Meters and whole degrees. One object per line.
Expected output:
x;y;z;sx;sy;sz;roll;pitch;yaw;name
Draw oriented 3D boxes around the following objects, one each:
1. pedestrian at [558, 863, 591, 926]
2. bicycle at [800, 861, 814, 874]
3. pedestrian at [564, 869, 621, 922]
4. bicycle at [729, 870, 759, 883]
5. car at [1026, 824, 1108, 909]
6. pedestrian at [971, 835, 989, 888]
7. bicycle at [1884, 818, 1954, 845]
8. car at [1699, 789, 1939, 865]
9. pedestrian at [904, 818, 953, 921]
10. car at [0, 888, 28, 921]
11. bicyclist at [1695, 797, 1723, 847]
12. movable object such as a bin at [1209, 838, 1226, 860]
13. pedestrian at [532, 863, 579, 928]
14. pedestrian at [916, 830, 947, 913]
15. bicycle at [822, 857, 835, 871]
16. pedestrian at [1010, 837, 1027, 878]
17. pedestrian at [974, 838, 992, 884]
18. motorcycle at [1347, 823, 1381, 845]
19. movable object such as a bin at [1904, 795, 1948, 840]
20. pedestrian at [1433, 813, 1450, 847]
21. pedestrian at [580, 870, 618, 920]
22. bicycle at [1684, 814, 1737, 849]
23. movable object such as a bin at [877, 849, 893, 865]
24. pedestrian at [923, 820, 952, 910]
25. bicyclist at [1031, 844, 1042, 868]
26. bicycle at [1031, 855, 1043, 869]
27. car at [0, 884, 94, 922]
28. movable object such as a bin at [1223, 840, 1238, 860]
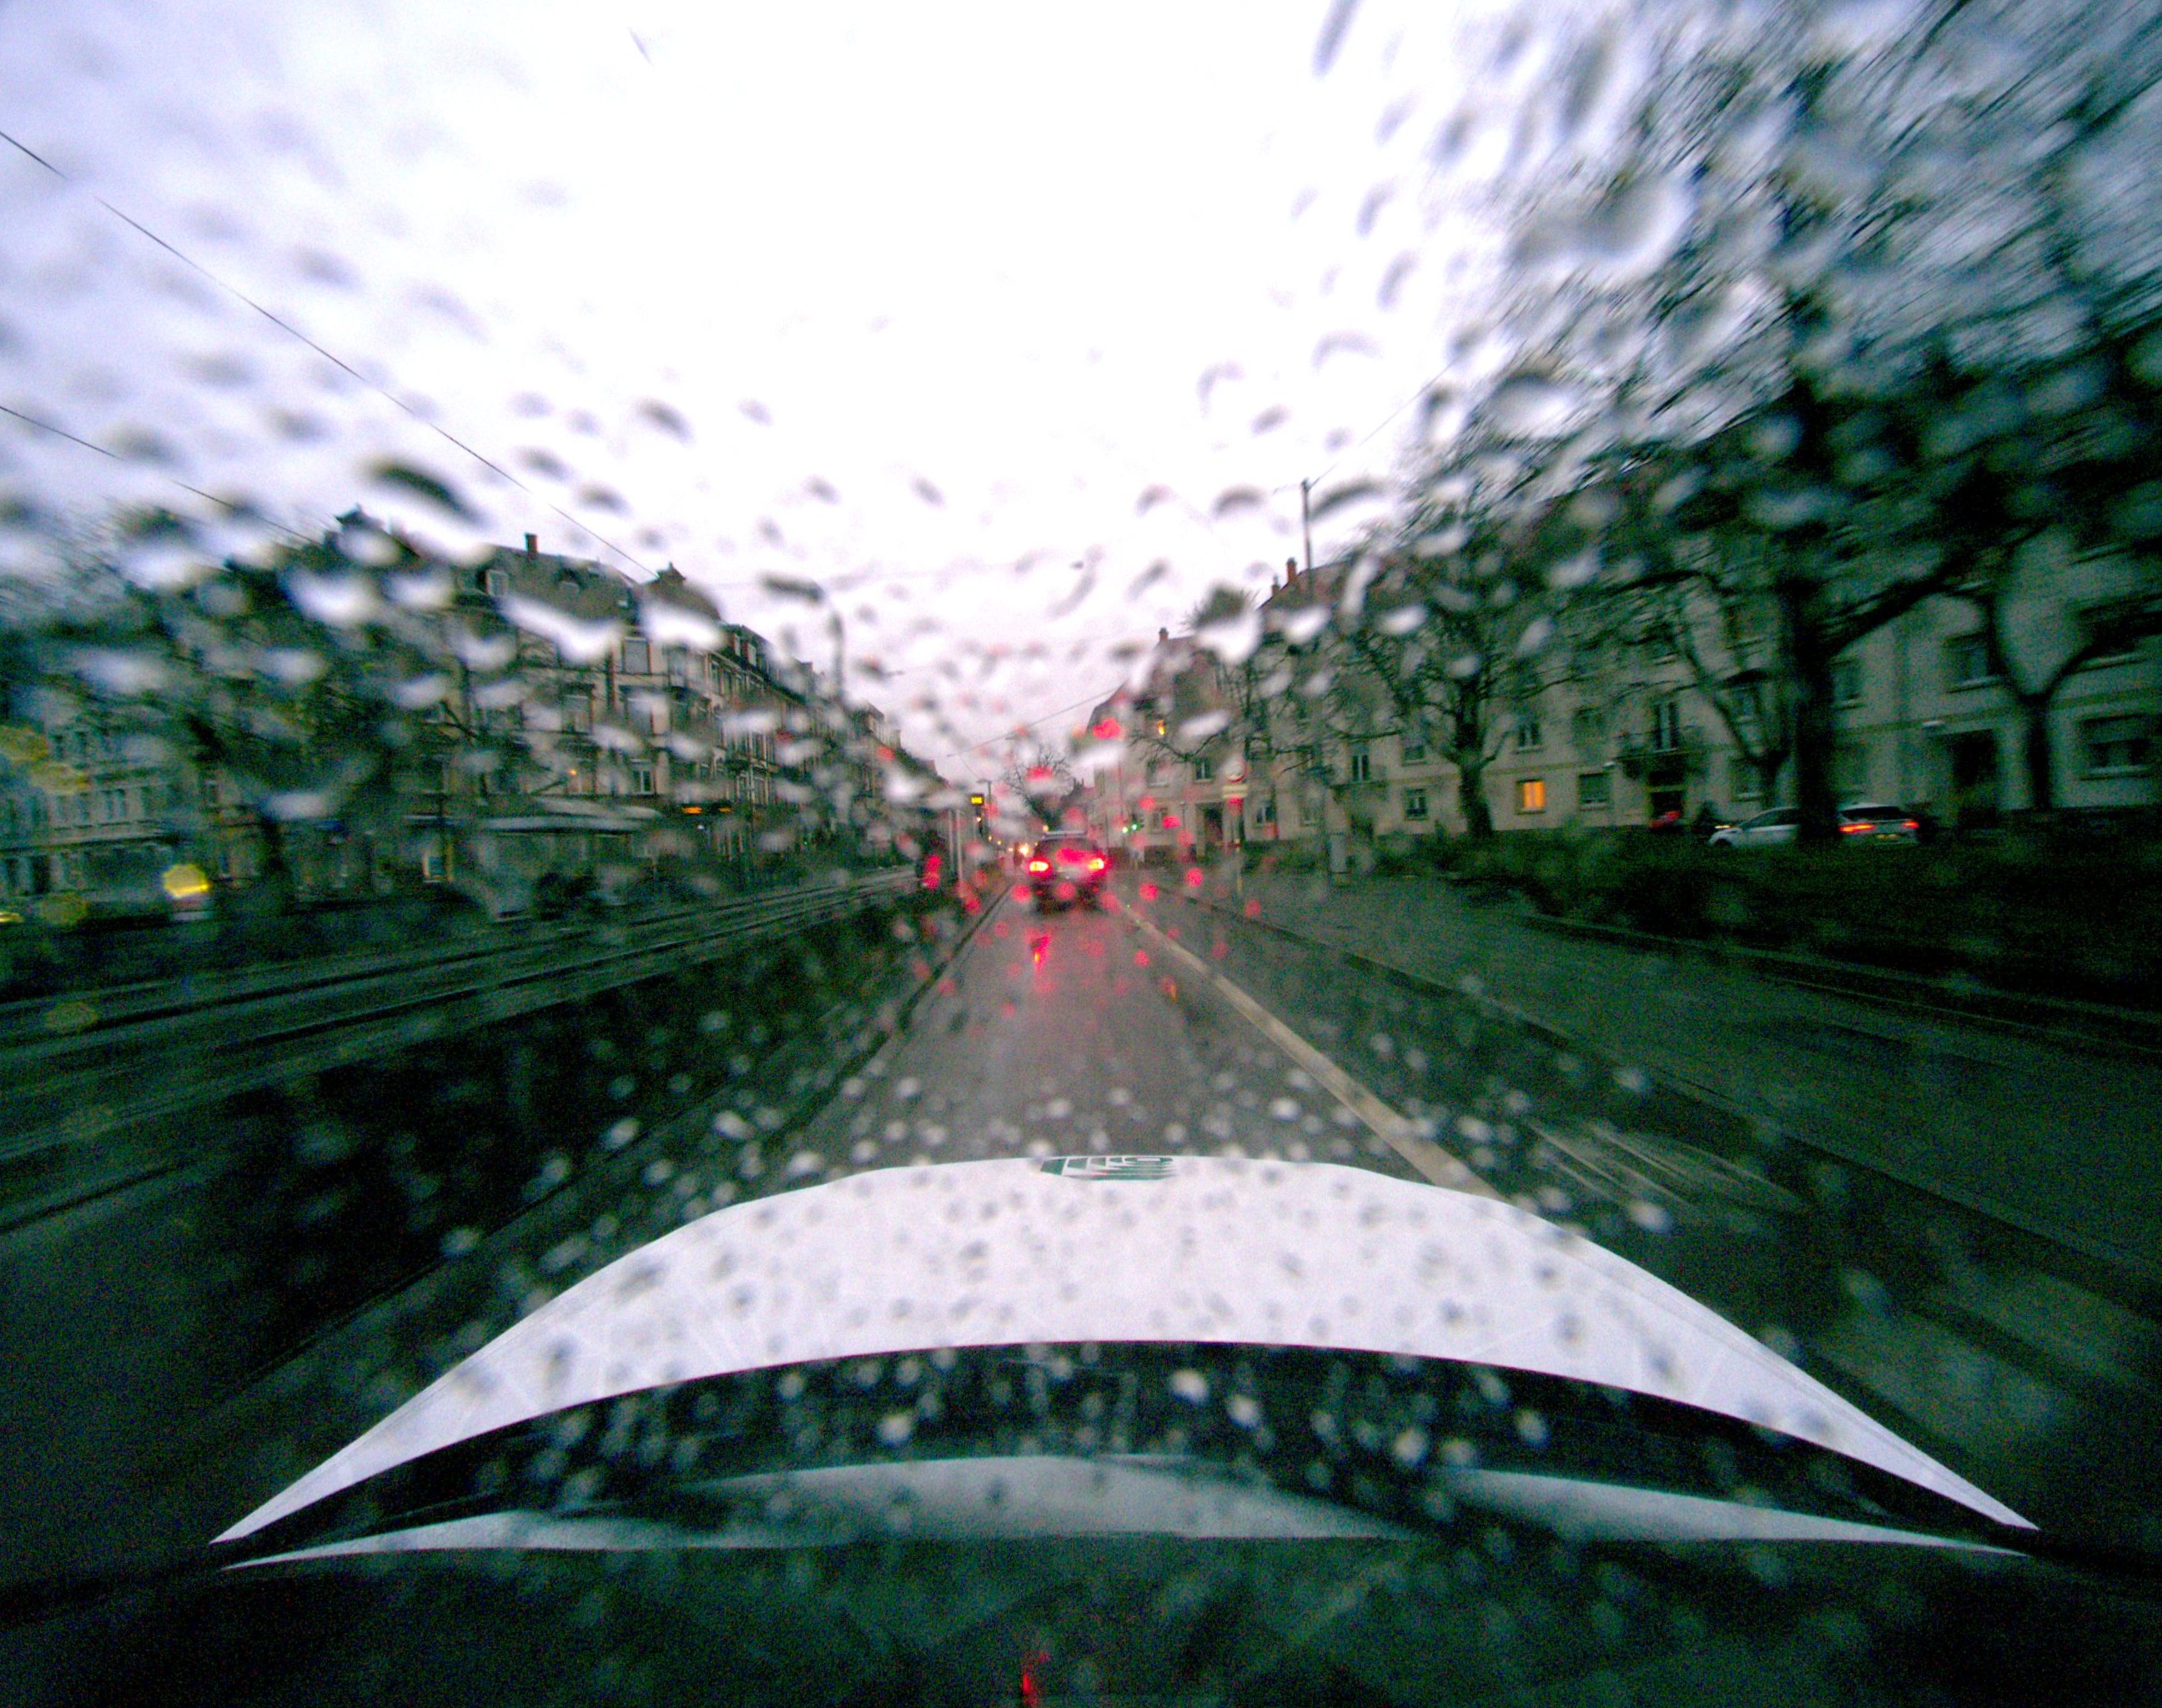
-11.520;0.910;18.537;0.472;1.403;0.453;0;0;-3;pedestrian
-19.834;1.005;59.065;0.398;0.862;1.848;-3;1;-2;bicycle
-11.780;0.988;19.642;1.053;1.254;0.506;0;0;-4;pedestrian
-21.905;1.461;52.948;0.395;0.759;1.823;-2;0;33;bicycle
-0.346;0.255;20.029;1.797;1.870;4.016;0;0;-1;car
-3.430;0.254;27.739;0.556;1.807;0.570;0;0;-2;pedestrian
25.024;-0.655;24.349;0.338;0.766;1.586;-3;1;-5;bicycle
18.358;-0.674;20.658;1.885;1.509;4.759;-6;1;4;car
-2.959;0.291;15.854;0.851;1.955;0.570;0;0;-3;pedestrian
-59.146;2.819;43.589;3.956;1.705;2.009;-3;1;16;car
24.311;-1.238;31.536;0.465;1.886;0.679;-3;0;-3;bicyclist
7.826;-0.261;46.670;0.843;1.251;0.525;0;0;40;movable object such as a bin
-11.622;0.914;18.026;0.682;1.403;0.578;0;0;-3;pedestrian
-3.179;0.366;17.334;0.556;1.741;0.570;0;0;-2;pedestrian
-19.809;0.800;63.899;0.415;1.007;1.848;-3;1;-2;bicycle
-2.952;0.155;38.384;0.715;1.917;0.686;0;0;-10;pedestrian
-3.710;0.267;30.874;0.656;1.708;0.570;0;0;-2;pedestrian
15.191;-1.073;43.753;0.573;1.105;1.584;-6;3;-39;motorcycle
23.682;-1.015;22.834;0.528;1.228;0.647;-3;0;-15;movable object such as a bin
18.246;-1.206;41.232;0.706;1.660;0.692;-3;1;22;pedestrian
-11.935;1.004;20.169;0.651;1.218;0.516;0;0;-3;pedestrian
24.329;-0.871;31.509;0.465;1.291;1.912;-3;1;-3;bicycle
-20.306;0.262;84.407;1.239;1.585;1.308;-2;0;2;movable object such as a bin
-3.223;0.243;18.301;0.556;1.987;0.570;0;0;-2;pedestrian
-3.254;0.154;59.967;0.728;1.736;0.765;-2;0;-2;bicyclist
-3.235;0.587;59.949;0.729;1.007;1.763;-2;0;-2;bicycle
-53.733;2.539;42.078;3.956;1.705;2.009;-3;1;16;car
8.471;-0.205;46.161;0.692;1.120;0.542;0;0;39;movable object such as a bin
